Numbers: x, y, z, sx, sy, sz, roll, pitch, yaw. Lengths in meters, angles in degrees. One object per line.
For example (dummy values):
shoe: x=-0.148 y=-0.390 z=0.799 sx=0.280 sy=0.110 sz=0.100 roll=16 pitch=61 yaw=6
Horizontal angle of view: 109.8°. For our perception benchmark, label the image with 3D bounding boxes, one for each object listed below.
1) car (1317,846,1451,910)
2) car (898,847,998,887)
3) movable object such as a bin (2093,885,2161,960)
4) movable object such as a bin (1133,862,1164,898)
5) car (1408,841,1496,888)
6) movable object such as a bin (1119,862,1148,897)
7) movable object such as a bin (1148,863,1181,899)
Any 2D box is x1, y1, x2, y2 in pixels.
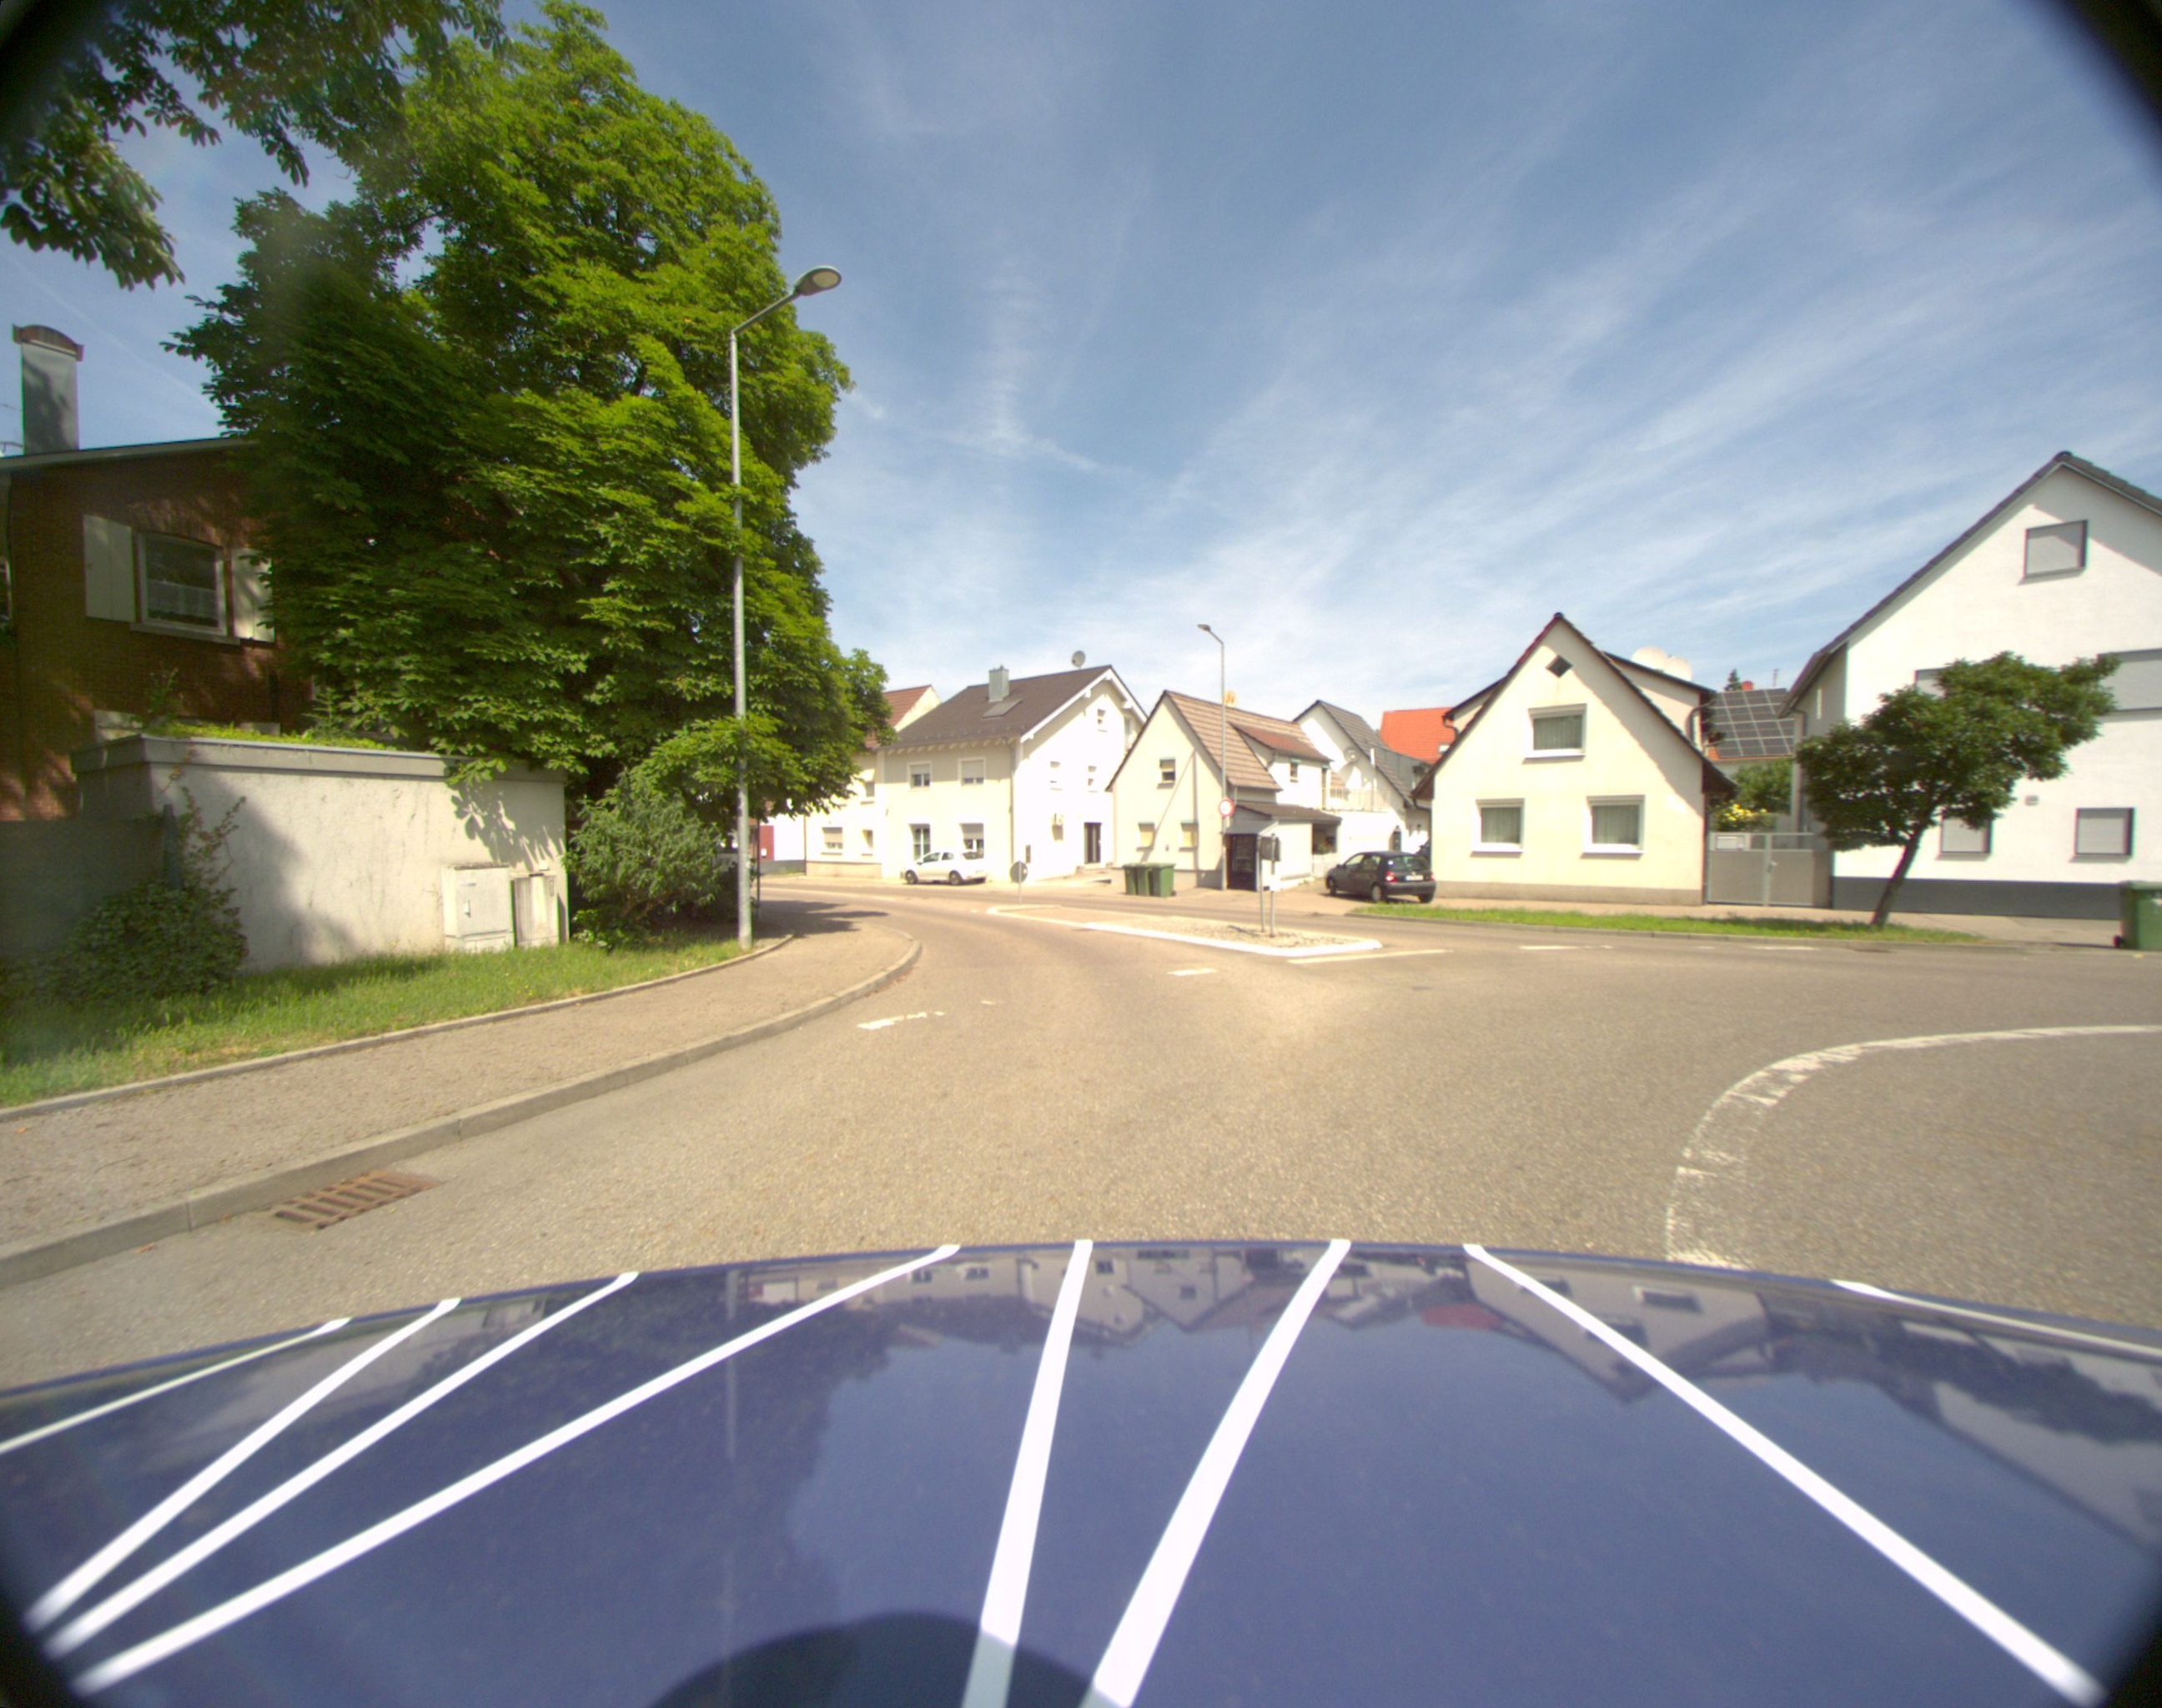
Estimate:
car: x=8.561 y=0.608 z=21.834 sx=1.779 sy=1.433 sz=3.841 roll=-3 pitch=4 yaw=-11
car: x=-5.691 y=0.515 z=32.416 sx=3.988 sy=1.494 sz=1.829 roll=0 pitch=3 yaw=33
movable object such as a bin: x=16.072 y=1.021 z=11.490 sx=0.578 sy=1.042 sz=0.905 roll=0 pitch=1 yaw=28
movable object such as a bin: x=2.172 y=0.836 z=24.585 sx=0.734 sy=1.071 sz=0.631 roll=-5 pitch=4 yaw=-41
car: x=14.037 y=0.354 z=28.671 sx=1.994 sy=1.635 sz=3.879 roll=1 pitch=1 yaw=42
movable object such as a bin: x=1.730 y=0.832 z=25.103 sx=0.644 sy=1.087 sz=0.630 roll=-5 pitch=4 yaw=-41
movable object such as a bin: x=2.655 y=0.841 z=24.053 sx=0.684 sy=1.071 sz=0.723 roll=-5 pitch=4 yaw=-41
